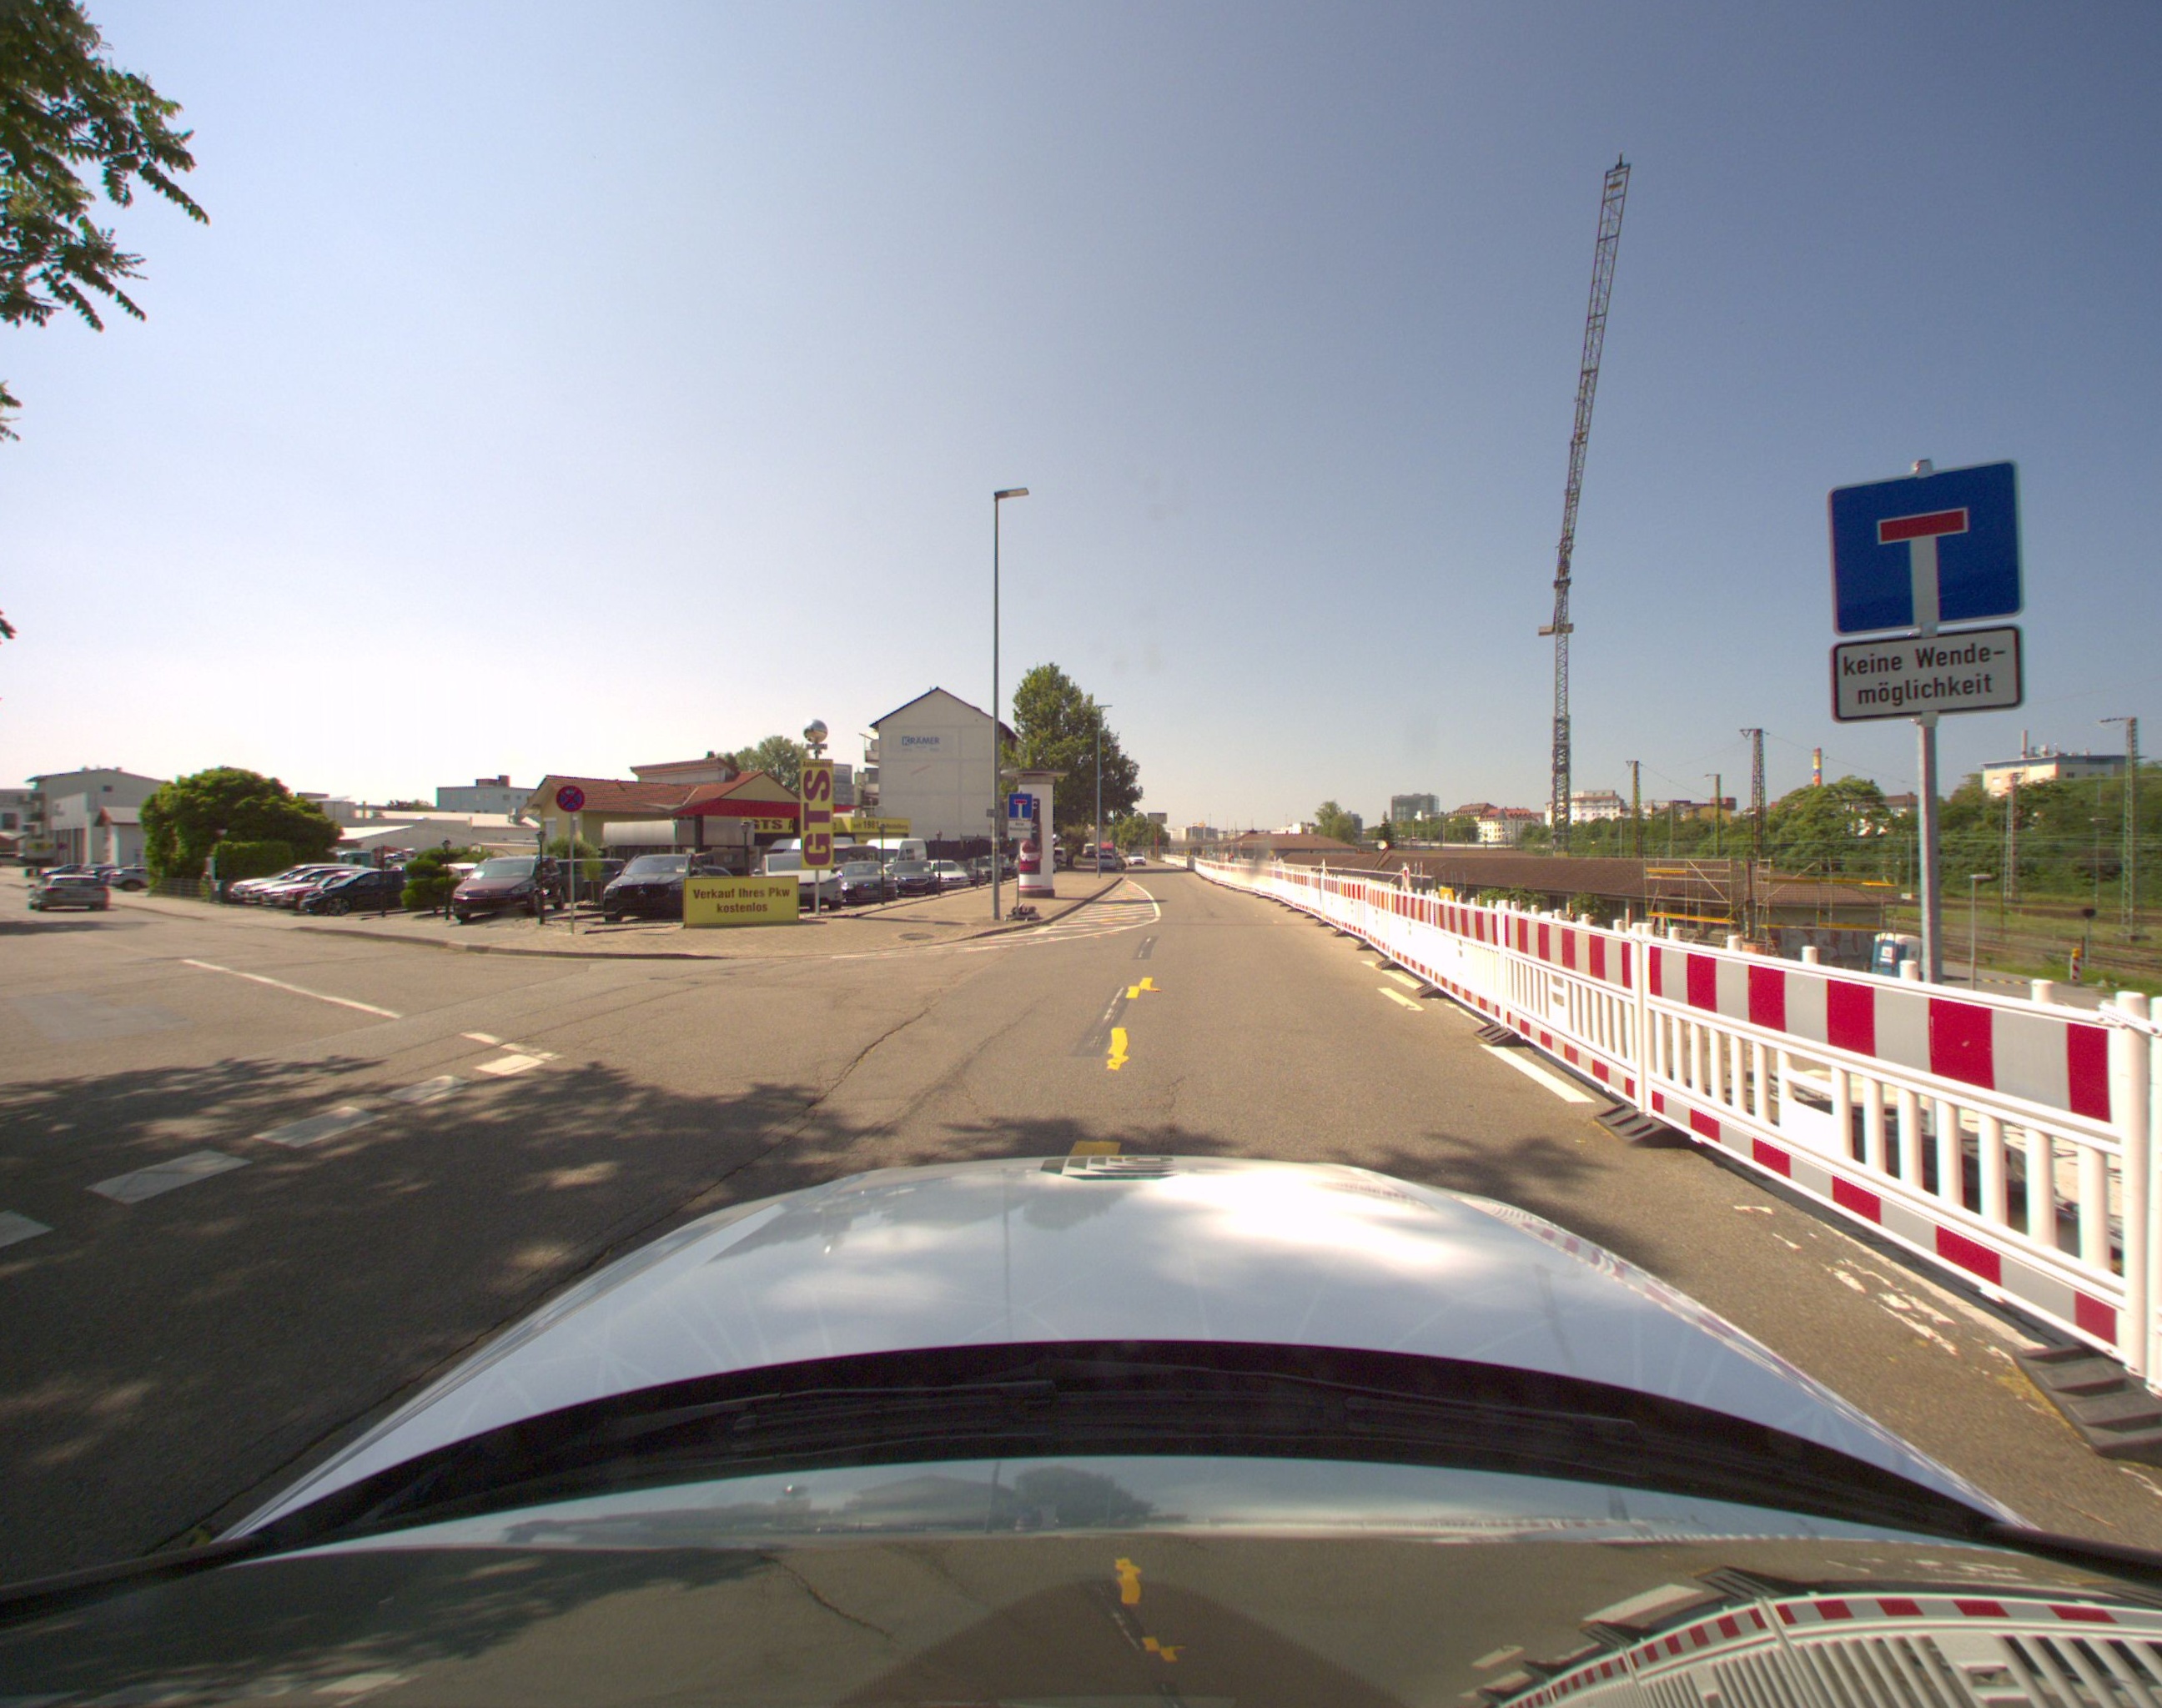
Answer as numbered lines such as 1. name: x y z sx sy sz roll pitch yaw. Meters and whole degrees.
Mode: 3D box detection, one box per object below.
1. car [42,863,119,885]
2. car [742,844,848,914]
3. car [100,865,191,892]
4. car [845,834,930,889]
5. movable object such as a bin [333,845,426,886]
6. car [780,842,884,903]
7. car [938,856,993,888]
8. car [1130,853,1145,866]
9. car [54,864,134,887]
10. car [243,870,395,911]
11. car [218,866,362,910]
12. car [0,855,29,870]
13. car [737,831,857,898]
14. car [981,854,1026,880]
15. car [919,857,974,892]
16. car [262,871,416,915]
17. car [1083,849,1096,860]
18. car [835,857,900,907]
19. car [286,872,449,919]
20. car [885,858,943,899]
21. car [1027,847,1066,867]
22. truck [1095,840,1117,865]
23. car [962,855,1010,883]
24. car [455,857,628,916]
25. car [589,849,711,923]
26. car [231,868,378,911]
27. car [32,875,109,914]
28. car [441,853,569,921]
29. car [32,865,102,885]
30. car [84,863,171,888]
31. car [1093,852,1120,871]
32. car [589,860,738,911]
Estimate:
1. car: -82.872 1.595 67.481 1.759 1.763 3.865 -1 -1 35
2. car: -8.155 0.745 22.930 1.987 1.707 4.619 -2 -2 -29
3. car: -63.457 1.608 55.275 1.832 1.763 3.865 -1 -1 35
4. car: -9.516 0.398 40.717 2.234 2.430 5.728 3 -1 6
5. movable object such as a bin: -51.496 0.814 59.910 1.974 2.907 4.864 -1 0 37
6. car: -10.378 0.773 34.360 2.232 2.350 4.836 -1 -1 9
7. car: -6.103 0.932 42.723 1.675 1.473 3.966 -3 0 -25
8. car: 6.439 0.664 93.558 1.710 1.416 4.081 0 -1 3
9. car: -78.414 1.669 64.727 1.759 1.763 3.865 -1 -1 35
10. car: -30.706 1.425 32.952 1.846 1.489 4.145 -1 0 32
11. car: -34.746 1.431 35.889 1.868 1.750 4.198 -1 0 32
12. car: -141.360 1.109 106.656 1.792 1.909 4.024 1 0 28
13. car: -12.775 0.491 37.231 2.261 2.758 6.173 -1 -1 12
14. car: -4.992 0.838 51.939 1.674 1.473 3.969 -3 0 -23
15. car: -6.433 0.962 38.695 1.786 1.473 3.972 -3 0 -20
16. car: -28.729 1.470 31.649 1.775 1.489 4.084 -1 0 32
17. car: 1.531 0.159 147.705 1.926 1.834 3.932 3 0 7
18. car: -7.334 0.917 27.725 1.841 1.473 3.975 -3 0 -18
19. car: -26.147 1.463 29.985 1.846 1.489 4.159 -1 0 32
20. car: -6.878 0.955 33.203 1.841 1.473 3.976 -3 0 -18
21. car: -3.481 0.298 82.789 3.913 1.959 1.758 1 0 -3
22. truck: 2.830 -0.108 89.875 2.228 2.648 5.686 0 -1 3
23. car: -5.563 0.862 47.424 1.674 1.473 3.969 -3 0 -23
24. car: -18.776 1.074 28.597 4.910 1.842 2.140 -1 0 -33
25. car: -11.150 0.815 21.393 2.048 1.707 4.289 -1 -2 -17
26. car: -32.710 1.461 34.434 1.846 1.603 4.151 -1 0 32
27. car: -42.477 1.644 34.201 4.546 1.493 1.693 -1 0 35
28. car: -15.951 0.849 22.803 1.811 1.656 4.286 -2 0 -20
29. car: -93.711 1.884 75.324 1.800 1.763 3.897 -1 -1 35
30. car: -68.443 1.525 58.521 1.759 1.763 3.865 -1 -1 35
31. car: 2.227 0.639 70.383 1.858 1.498 4.041 -1 1 8
32. car: -14.567 1.052 28.768 1.893 1.575 4.709 -1 0 18
